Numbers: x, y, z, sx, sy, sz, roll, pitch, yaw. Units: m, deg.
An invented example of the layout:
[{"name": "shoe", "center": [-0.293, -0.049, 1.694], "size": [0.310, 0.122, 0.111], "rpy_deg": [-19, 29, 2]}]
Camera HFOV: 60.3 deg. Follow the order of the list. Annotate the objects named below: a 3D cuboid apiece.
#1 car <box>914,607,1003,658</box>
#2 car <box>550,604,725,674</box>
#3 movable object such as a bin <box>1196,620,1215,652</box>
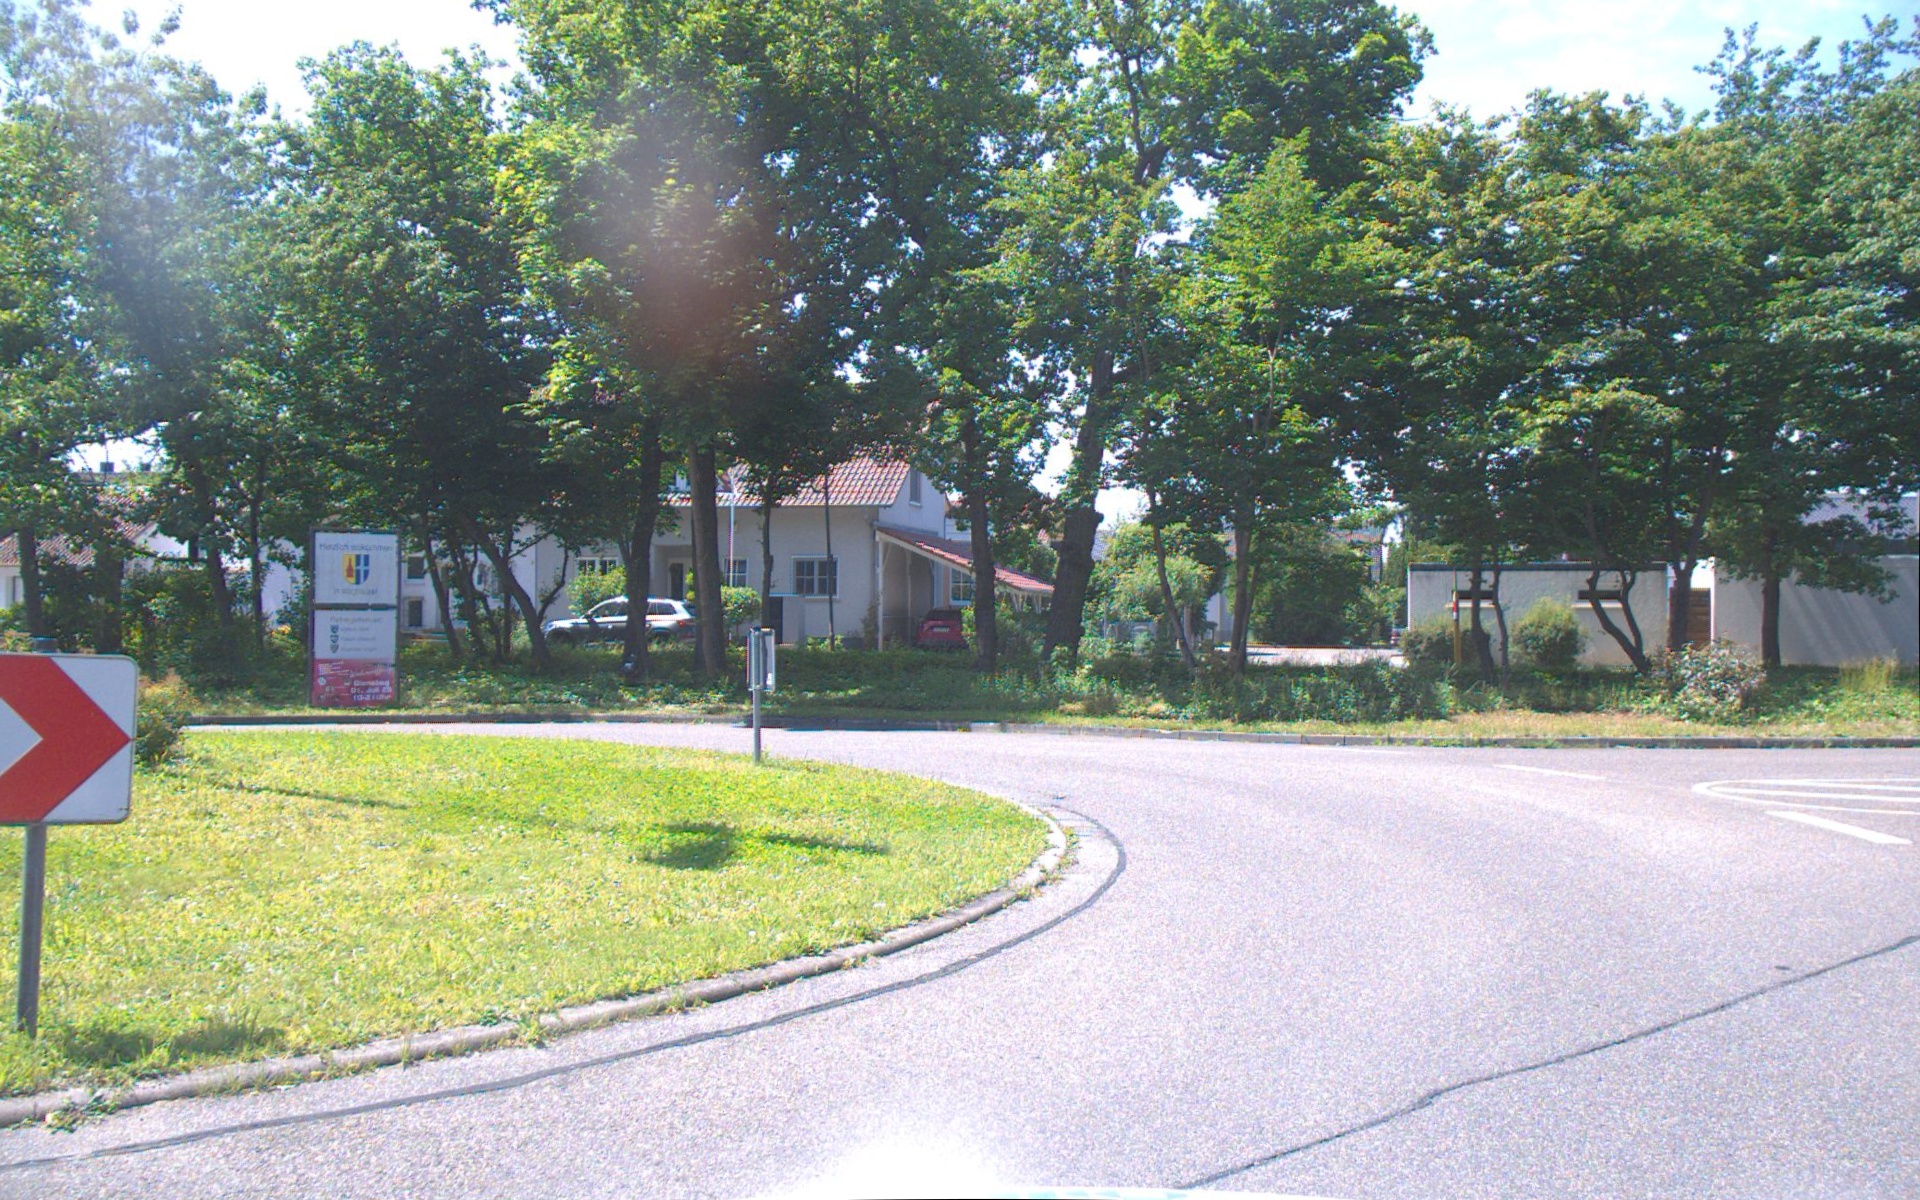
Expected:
[{"name": "car", "center": [-0.007, 0.903, 48.029], "size": [1.643, 1.410, 3.696], "rpy_deg": [0, 0, 16]}, {"name": "car", "center": [-8.194, 0.972, 42.109], "size": [4.041, 1.735, 1.667], "rpy_deg": [0, -1, 13]}, {"name": "movable object such as a bin", "center": [8.745, 1.275, 58.986], "size": [0.643, 1.132, 0.457], "rpy_deg": [0, 0, 12]}]
